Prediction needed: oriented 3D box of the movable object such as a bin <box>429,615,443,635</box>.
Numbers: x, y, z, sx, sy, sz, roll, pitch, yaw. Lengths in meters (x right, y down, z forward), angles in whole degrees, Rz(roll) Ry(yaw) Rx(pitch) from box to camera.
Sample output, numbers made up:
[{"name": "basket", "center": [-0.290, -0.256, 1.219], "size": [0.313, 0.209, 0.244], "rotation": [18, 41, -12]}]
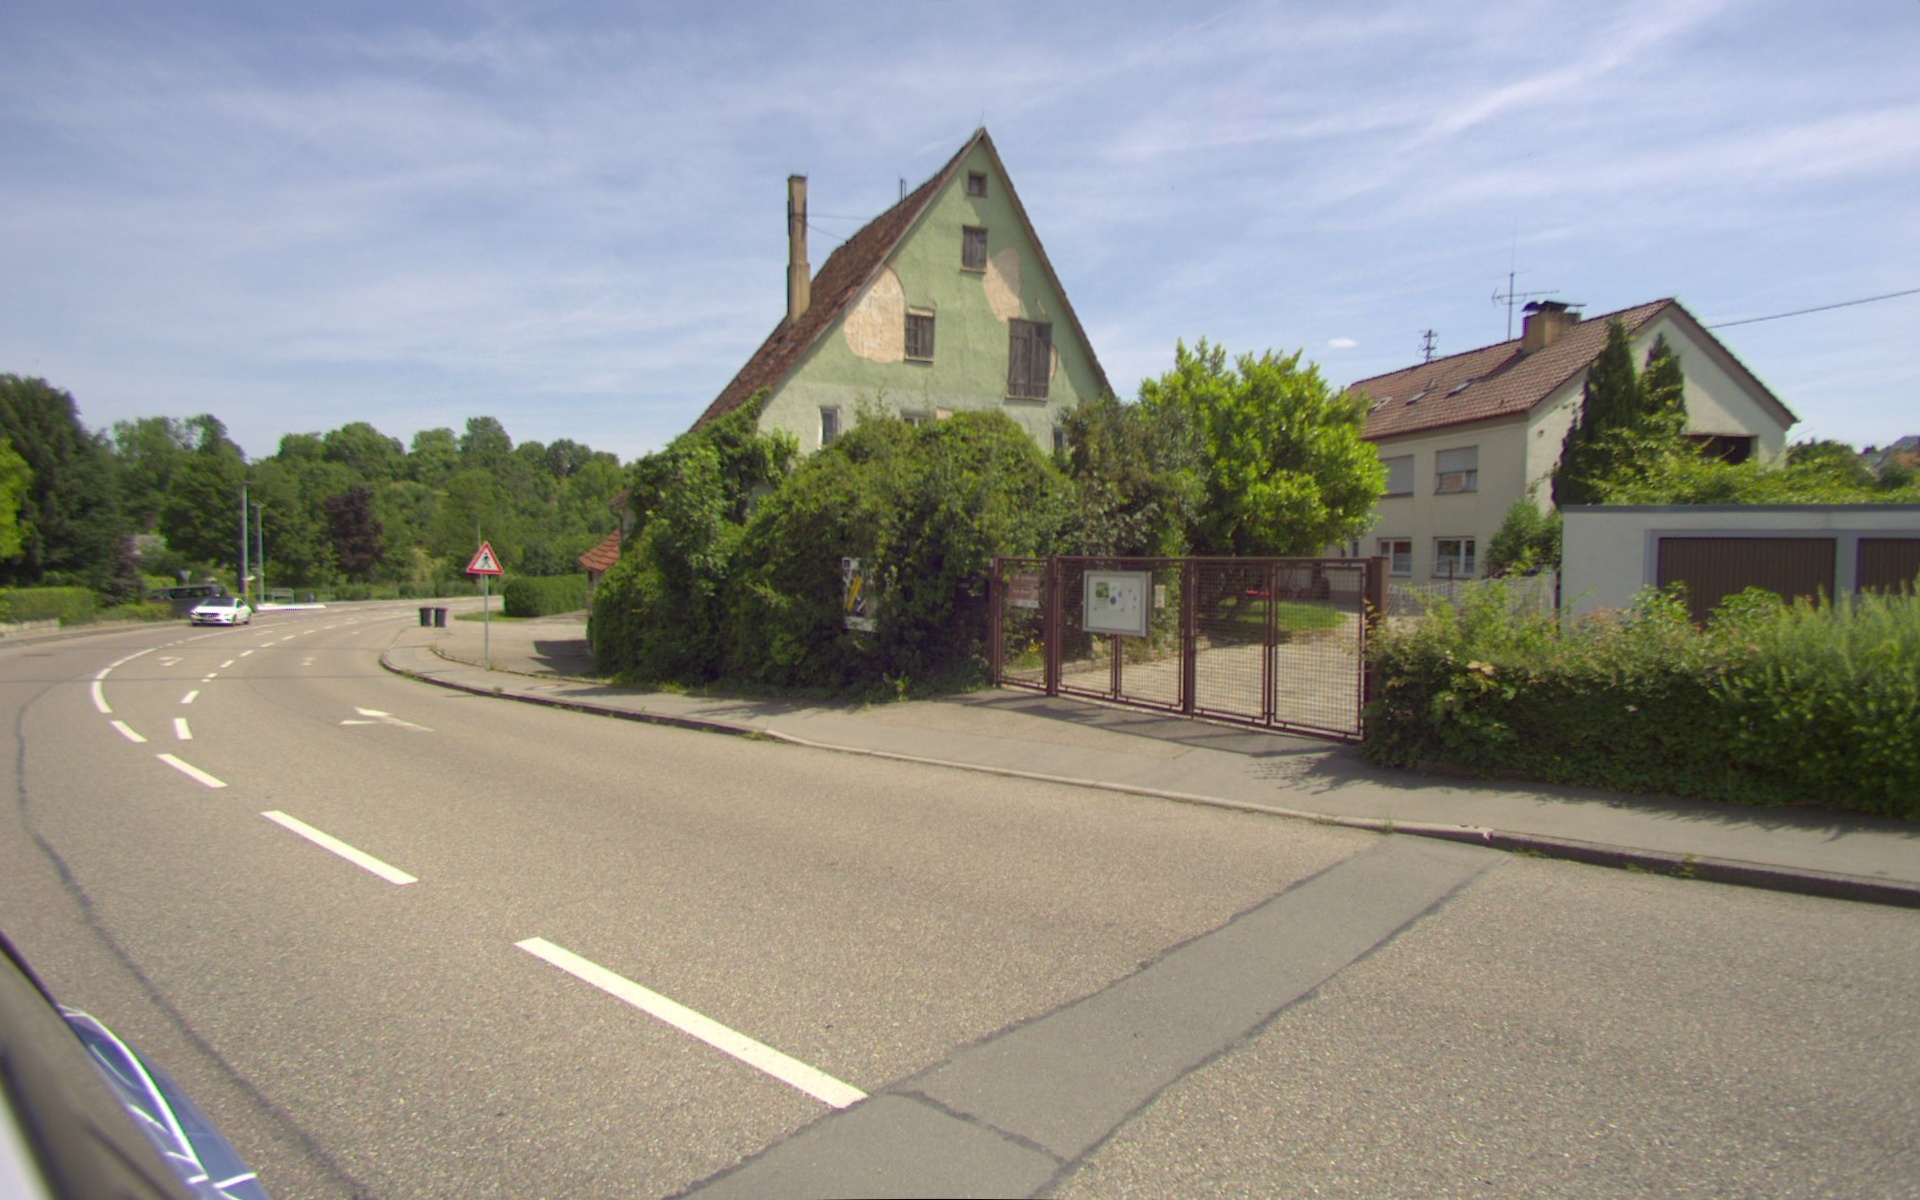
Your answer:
[{"name": "movable object such as a bin", "center": [-28.450, 1.339, 54.996], "size": [0.527, 1.058, 0.542], "rotation": [-1, 0, -44]}]

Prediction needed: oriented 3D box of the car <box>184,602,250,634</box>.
[{"name": "car", "center": [-38.179, 0.895, 52.106], "size": [1.796, 1.564, 4.013], "rotation": [1, 0, -22]}]

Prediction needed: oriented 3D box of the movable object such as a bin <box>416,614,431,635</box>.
[{"name": "movable object such as a bin", "center": [-29.698, 1.351, 56.025], "size": [0.546, 1.090, 0.542], "rotation": [-1, 0, -44]}]

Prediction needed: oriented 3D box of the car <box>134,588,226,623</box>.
[{"name": "car", "center": [-46.050, 0.289, 59.830], "size": [3.844, 1.964, 1.962], "rotation": [-1, 0, -18]}]
